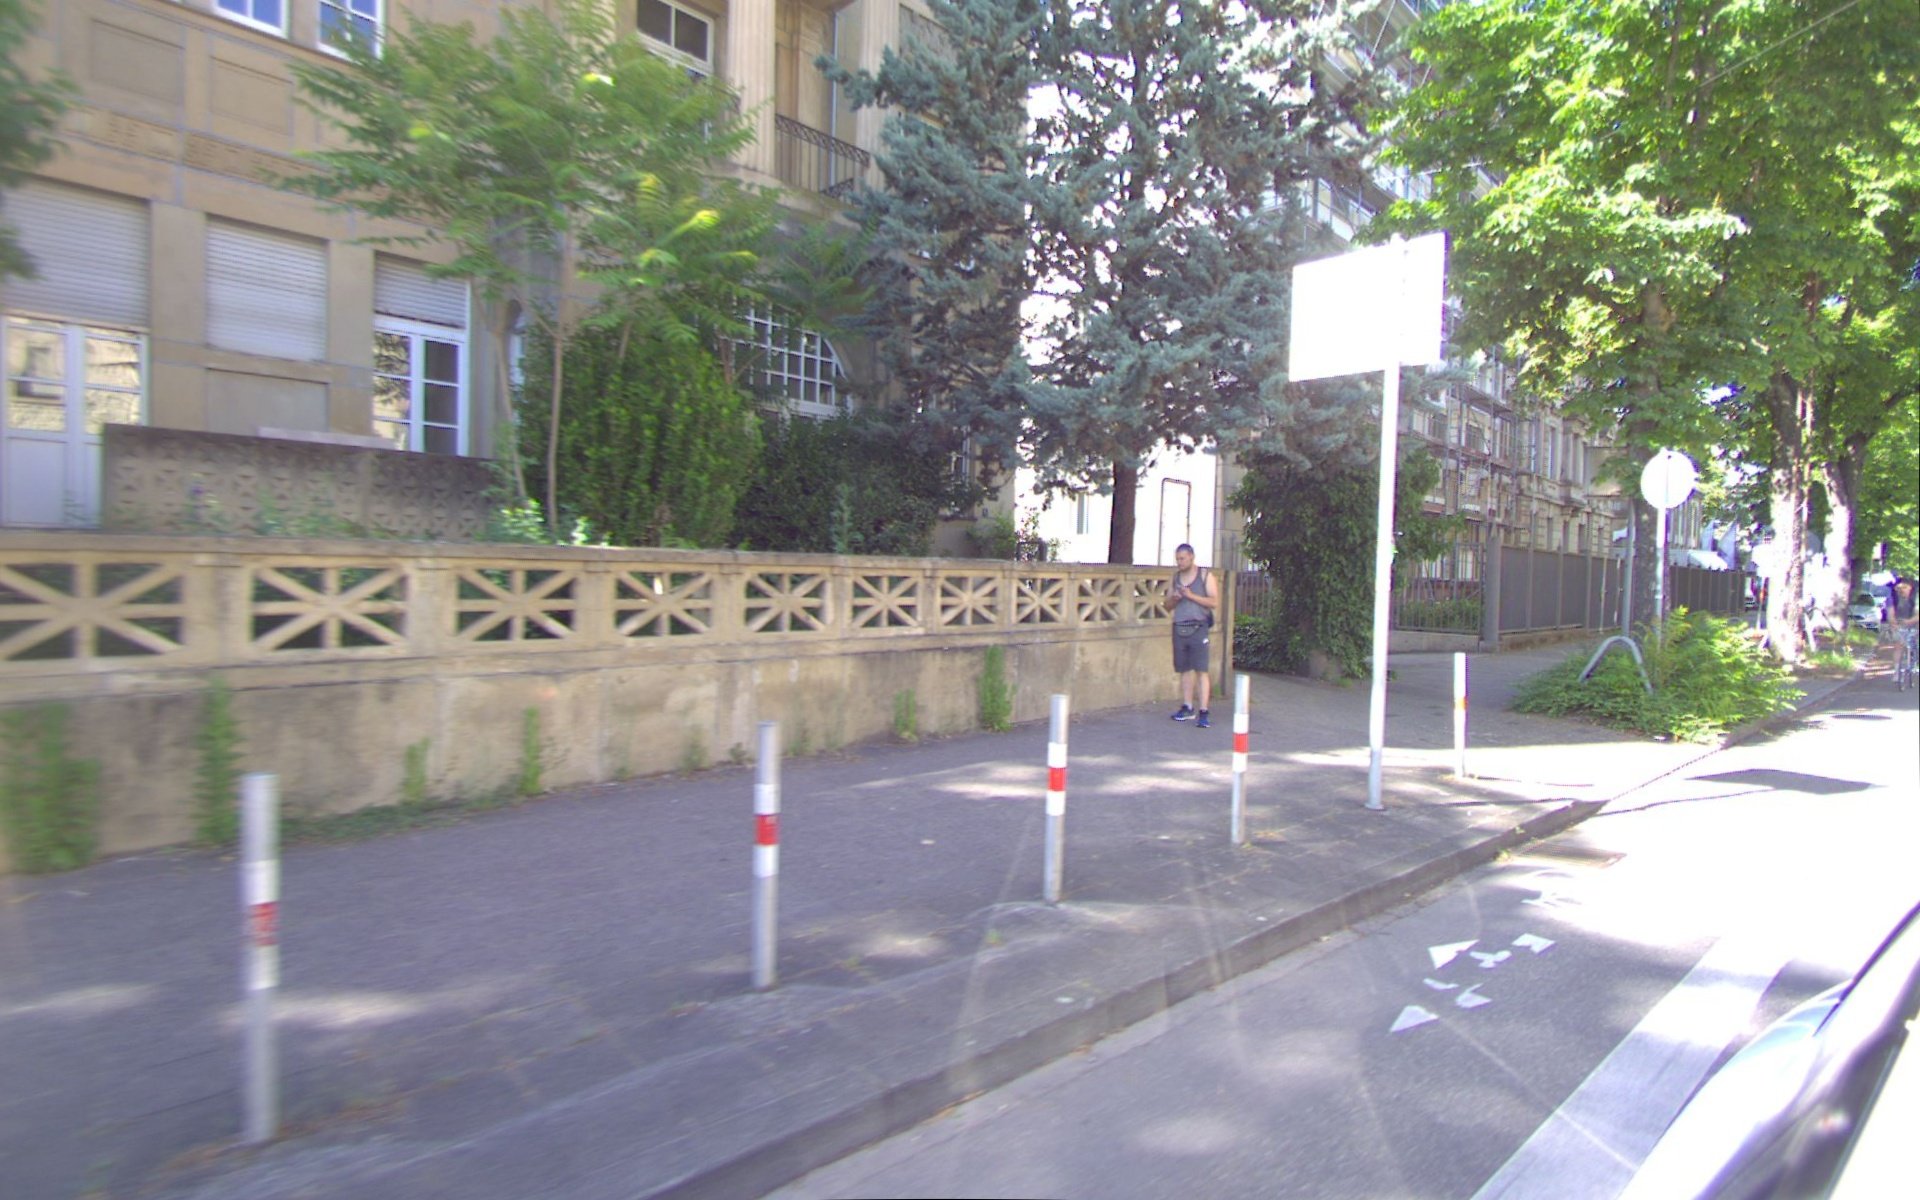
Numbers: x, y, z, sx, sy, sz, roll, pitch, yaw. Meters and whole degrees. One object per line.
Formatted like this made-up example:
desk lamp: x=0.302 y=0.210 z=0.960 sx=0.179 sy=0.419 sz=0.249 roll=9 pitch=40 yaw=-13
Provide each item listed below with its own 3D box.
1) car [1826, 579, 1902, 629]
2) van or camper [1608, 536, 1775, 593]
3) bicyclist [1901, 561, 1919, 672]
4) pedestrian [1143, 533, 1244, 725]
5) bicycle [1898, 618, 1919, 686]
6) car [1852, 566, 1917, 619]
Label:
car: x=32.618 y=0.080 z=36.515 sx=1.872 sy=1.561 sz=4.299 roll=5 pitch=5 yaw=42
van or camper: x=36.617 y=-1.778 z=50.976 sx=2.078 sy=2.659 sz=6.753 roll=0 pitch=2 yaw=-20
bicyclist: x=14.981 y=0.245 z=15.662 sx=0.863 sy=1.690 sz=0.531 roll=-1 pitch=2 yaw=-43
pedestrian: x=2.160 y=0.238 z=9.376 sx=0.636 sy=1.691 sz=0.593 roll=-1 pitch=4 yaw=-44
bicycle: x=15.016 y=0.783 z=15.711 sx=2.023 sy=0.933 sz=0.534 roll=-2 pitch=2 yaw=-44
car: x=45.414 y=-0.455 z=49.731 sx=2.127 sy=2.371 sz=5.717 roll=5 pitch=5 yaw=42
